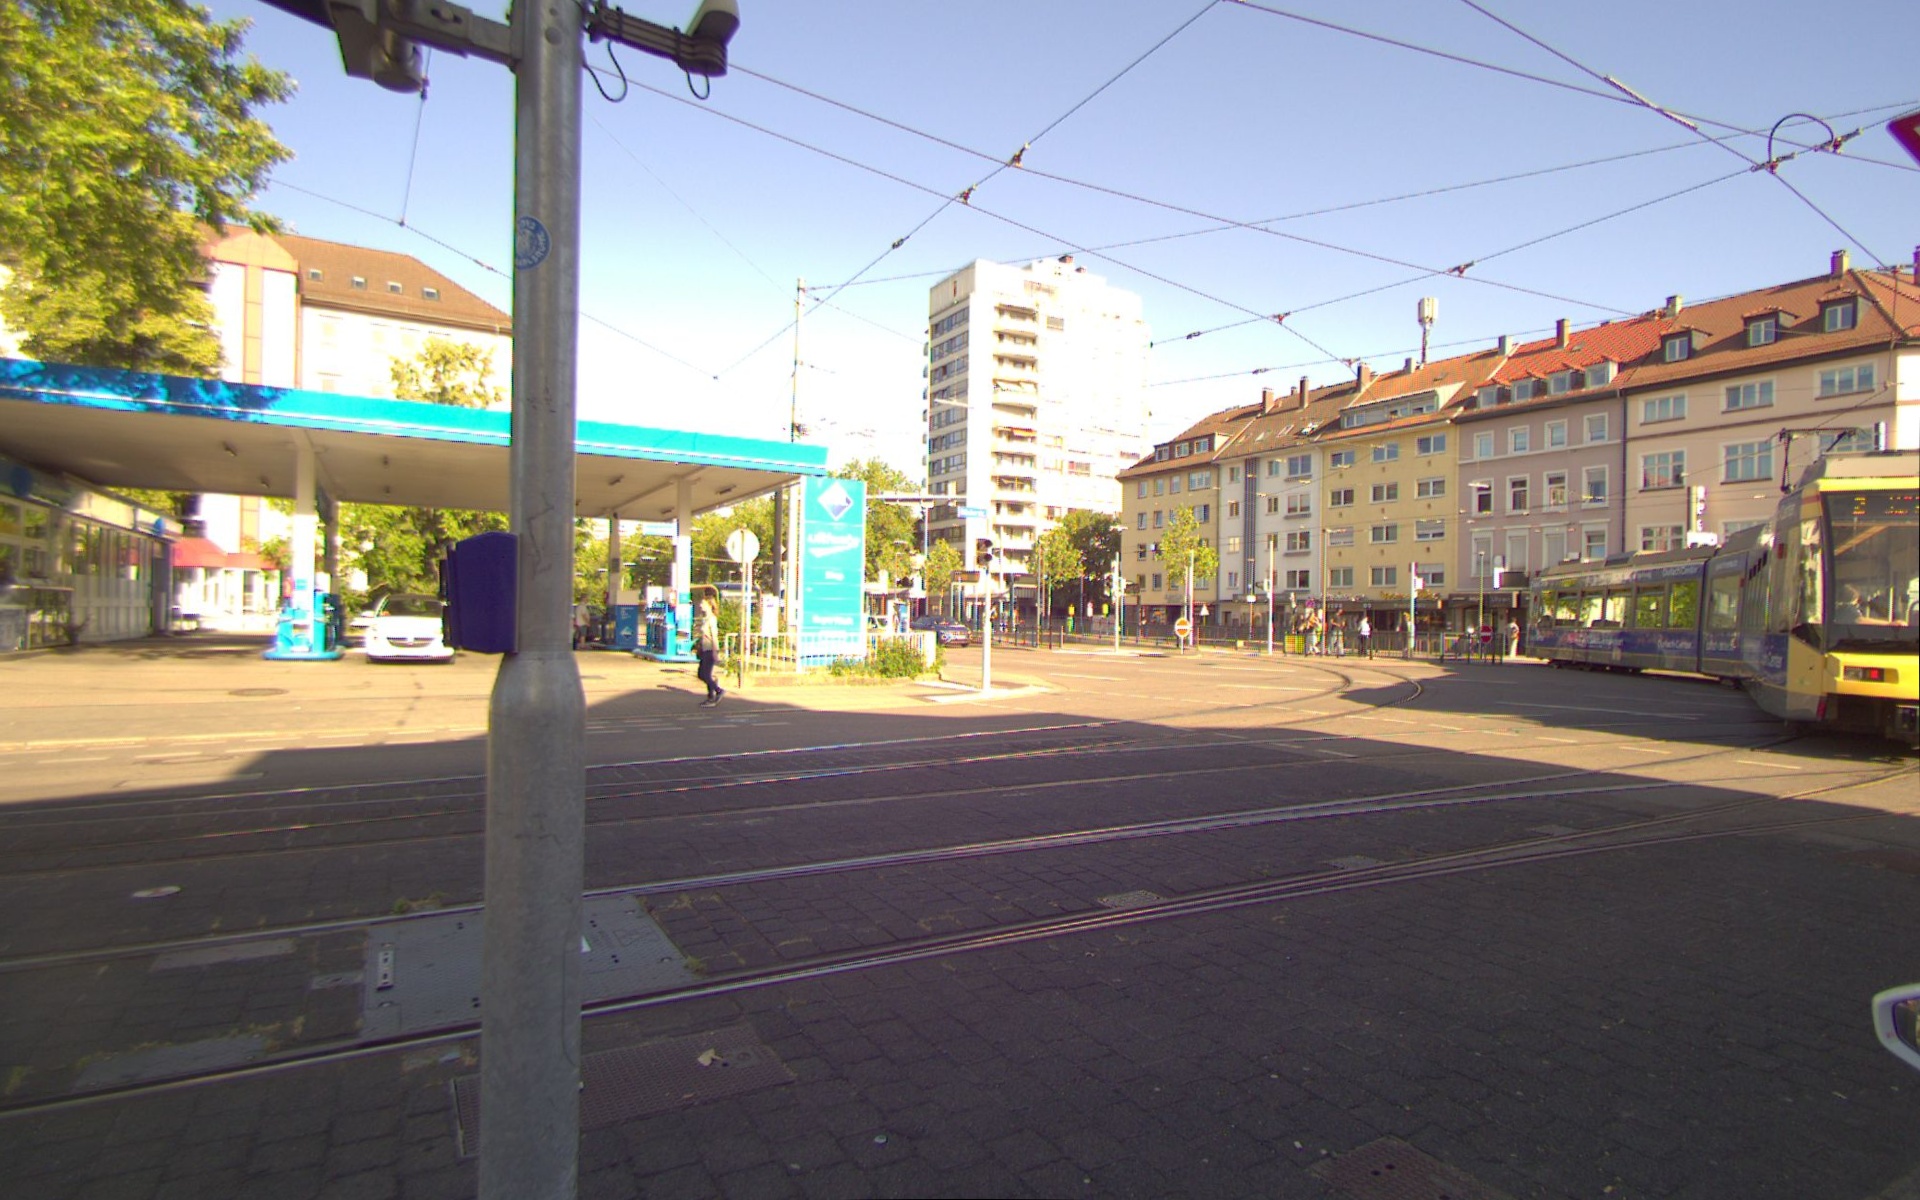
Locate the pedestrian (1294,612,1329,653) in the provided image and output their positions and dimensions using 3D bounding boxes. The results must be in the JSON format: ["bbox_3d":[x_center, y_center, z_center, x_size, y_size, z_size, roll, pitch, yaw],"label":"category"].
[{"bbox_3d":[14.153,1.311,40.501,1.000,1.619,0.931,1,-1,-37],"label":"pedestrian"}]

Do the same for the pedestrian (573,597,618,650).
[{"bbox_3d":[-11.694,0.755,32.244,1.144,1.647,0.810,0,-1,33],"label":"pedestrian"}]

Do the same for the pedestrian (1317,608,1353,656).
[{"bbox_3d":[14.499,1.236,38.838,1.002,1.798,0.930,2,-1,-42],"label":"pedestrian"}]

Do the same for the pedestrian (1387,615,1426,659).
[{"bbox_3d":[16.605,1.374,37.357,0.924,1.619,1.008,1,-1,-8],"label":"pedestrian"}]

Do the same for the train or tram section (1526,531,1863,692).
[{"bbox_3d":[19.740,0.343,28.409,2.723,3.546,12.038,1,-1,11],"label":"train or tram section"}]

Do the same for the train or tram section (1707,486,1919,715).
[{"bbox_3d":[16.501,0.083,19.510,2.776,3.546,8.436,0,-1,34],"label":"train or tram section"}]

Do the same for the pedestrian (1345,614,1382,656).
[{"bbox_3d":[15.744,1.358,39.250,0.925,1.619,1.007,1,-1,-13],"label":"pedestrian"}]

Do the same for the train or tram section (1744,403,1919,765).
[{"bbox_3d":[11.900,-0.083,12.877,2.779,3.546,7.931,0,-1,37],"label":"train or tram section"}]

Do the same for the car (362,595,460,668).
[{"bbox_3d":[-12.345,0.680,22.551,1.760,1.483,3.968,1,-1,-30],"label":"car"}]

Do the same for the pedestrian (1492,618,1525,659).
[{"bbox_3d":[24.138,1.680,44.174,0.924,1.779,0.934,1,-1,-30],"label":"pedestrian"}]

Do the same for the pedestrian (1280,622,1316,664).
[{"bbox_3d":[13.422,1.682,39.918,1.000,1.619,0.932,1,0,-36],"label":"pedestrian"}]

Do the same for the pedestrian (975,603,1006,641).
[{"bbox_3d":[1.516,1.099,49.991,1.156,1.870,1.098,2,-1,-28],"label":"pedestrian"}]

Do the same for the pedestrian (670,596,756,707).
[{"bbox_3d":[-3.797,0.775,15.447,1.095,1.641,0.709,1,-1,-35],"label":"pedestrian"}]

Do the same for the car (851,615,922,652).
[{"bbox_3d":[-3.478,1.532,46.738,1.863,1.601,3.971,1,-1,-28],"label":"car"}]

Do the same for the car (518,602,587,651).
[{"bbox_3d":[-13.453,0.843,33.017,1.725,1.431,4.061,5,-2,-26],"label":"car"}]

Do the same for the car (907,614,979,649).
[{"bbox_3d":[-0.854,1.497,48.318,1.863,1.601,3.971,1,-1,-28],"label":"car"}]
